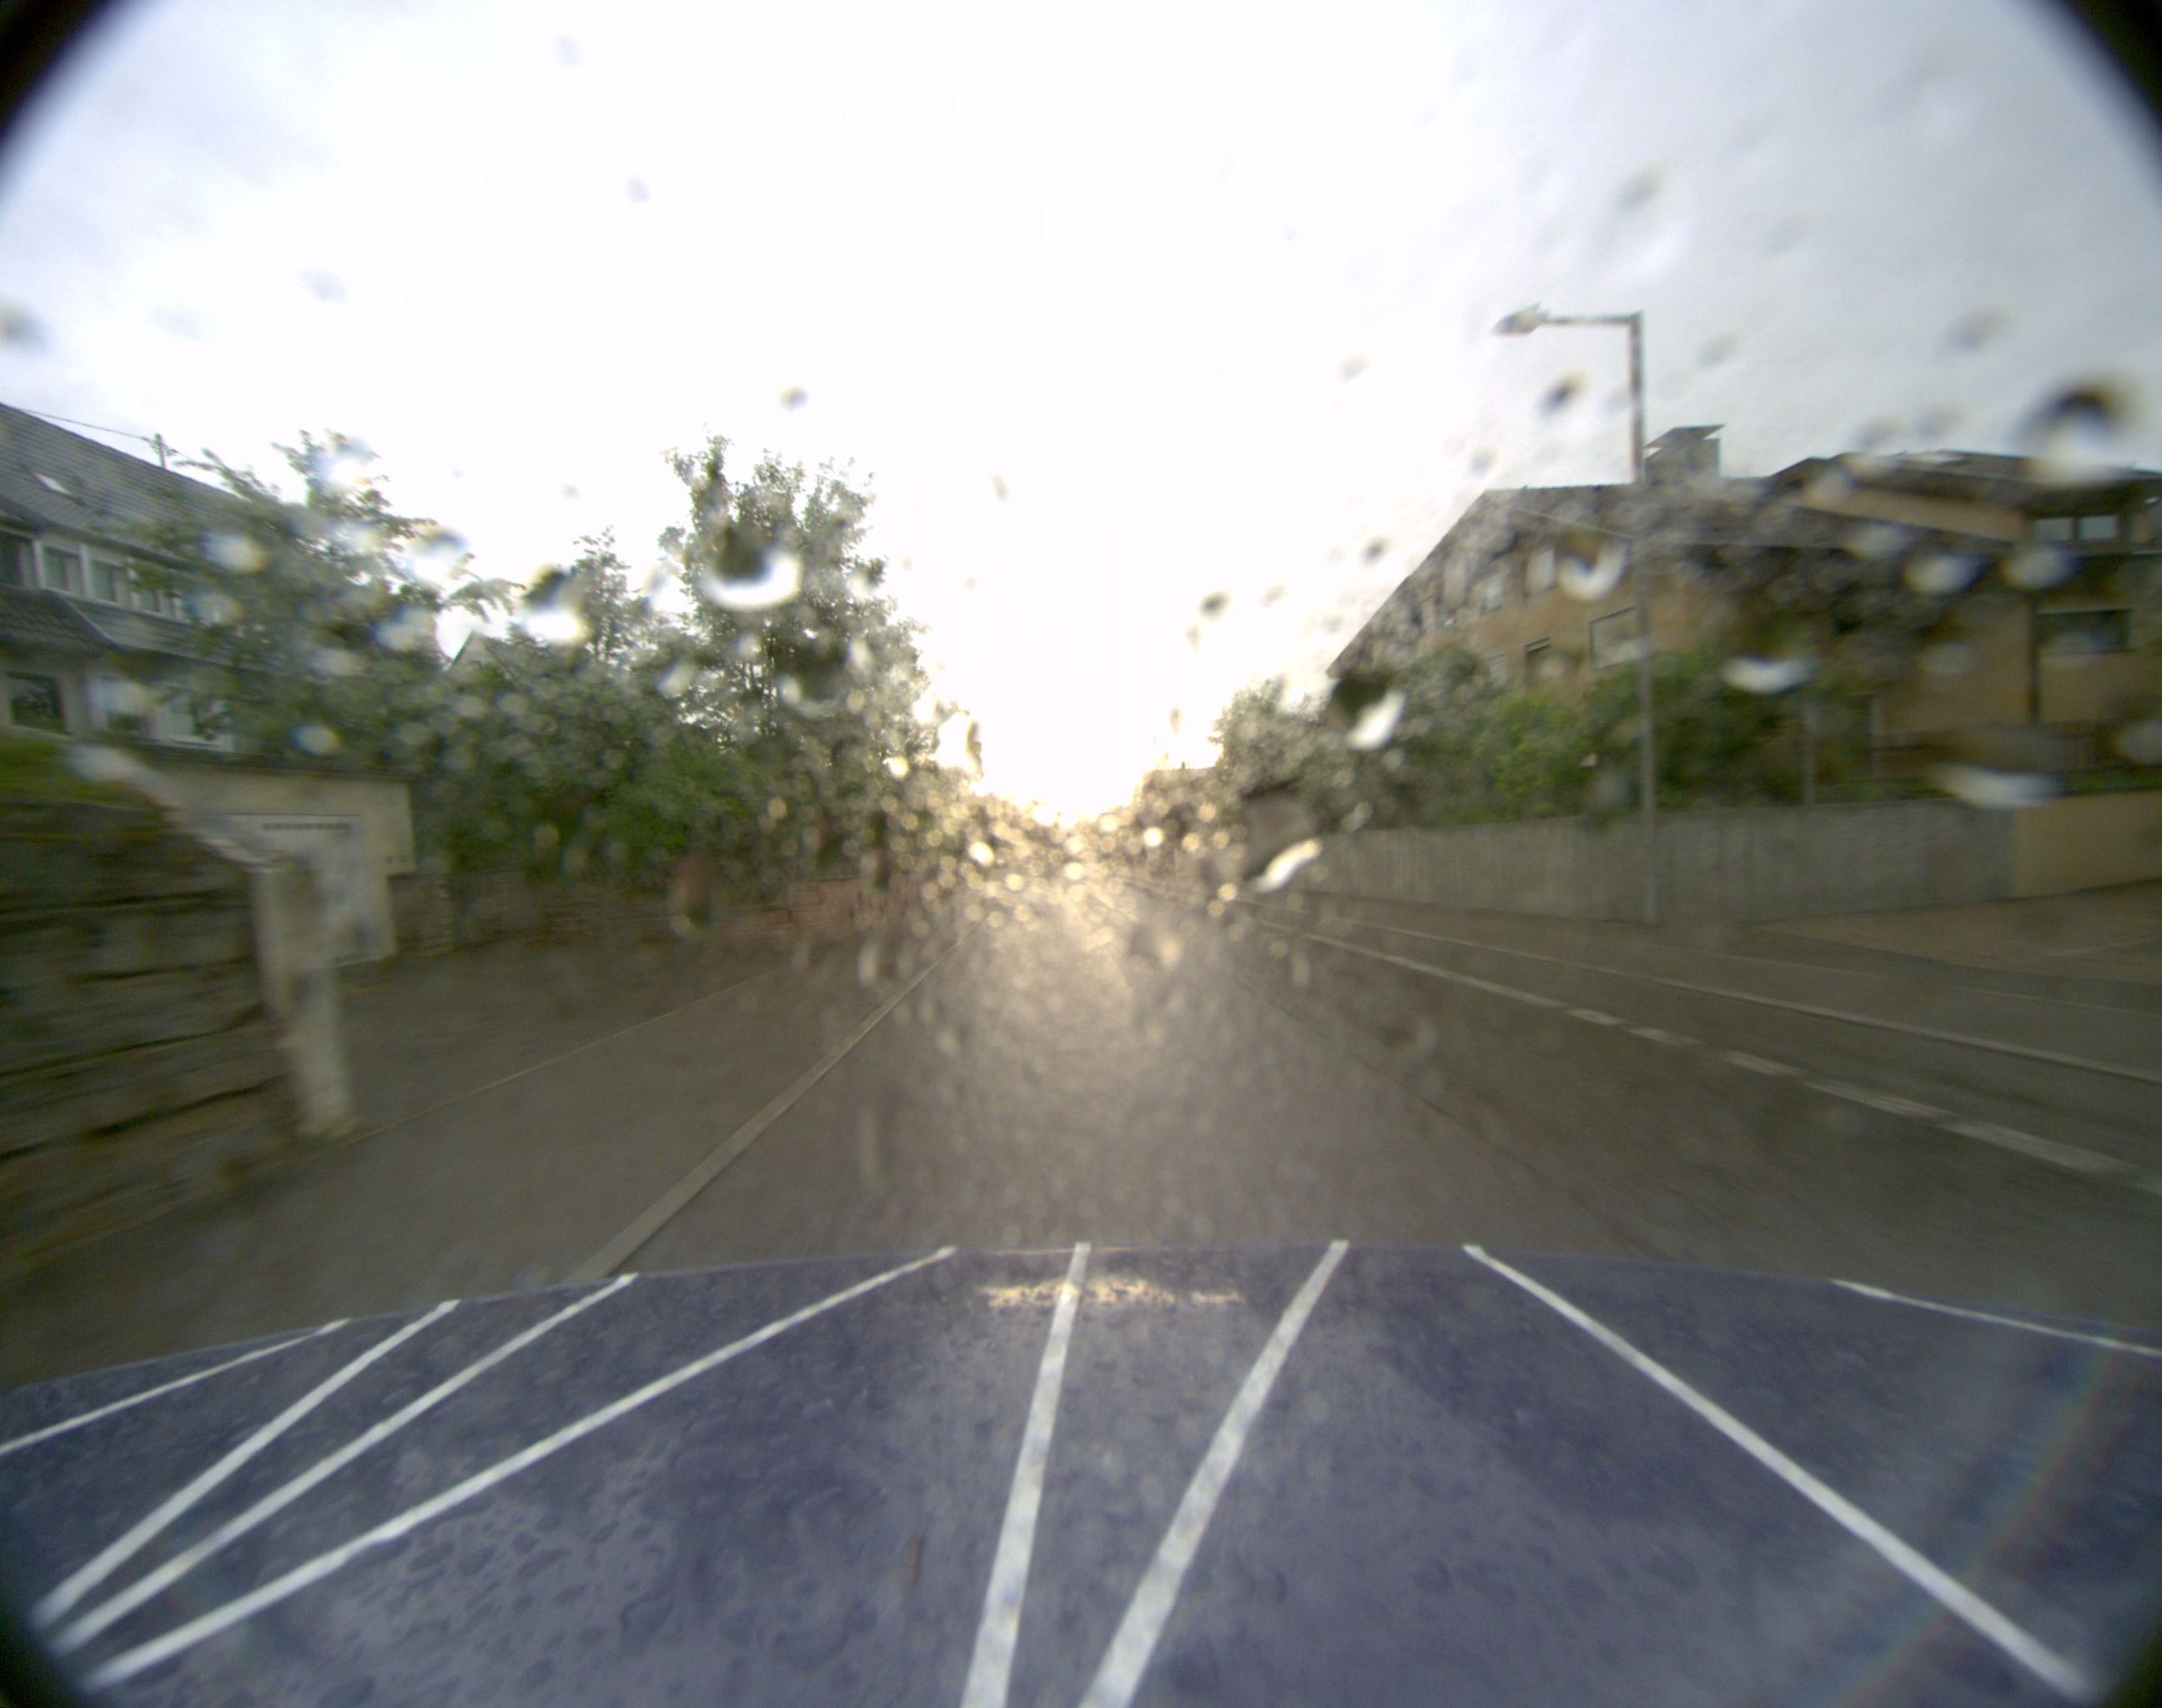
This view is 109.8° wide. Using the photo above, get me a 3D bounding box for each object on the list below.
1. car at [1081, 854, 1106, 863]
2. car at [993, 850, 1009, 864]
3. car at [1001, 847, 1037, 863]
[{"bbox_3d":[2.456,0.839,145.662,4.534,1.650,1.858,-2,-2,8],"label":"car"},{"bbox_3d":[-8.974,0.317,85.364,1.536,1.526,3.844,-1,0,-2],"label":"car"},{"bbox_3d":[-8.419,0.119,102.898,4.336,1.706,1.731,-5,0,25],"label":"car"}]
